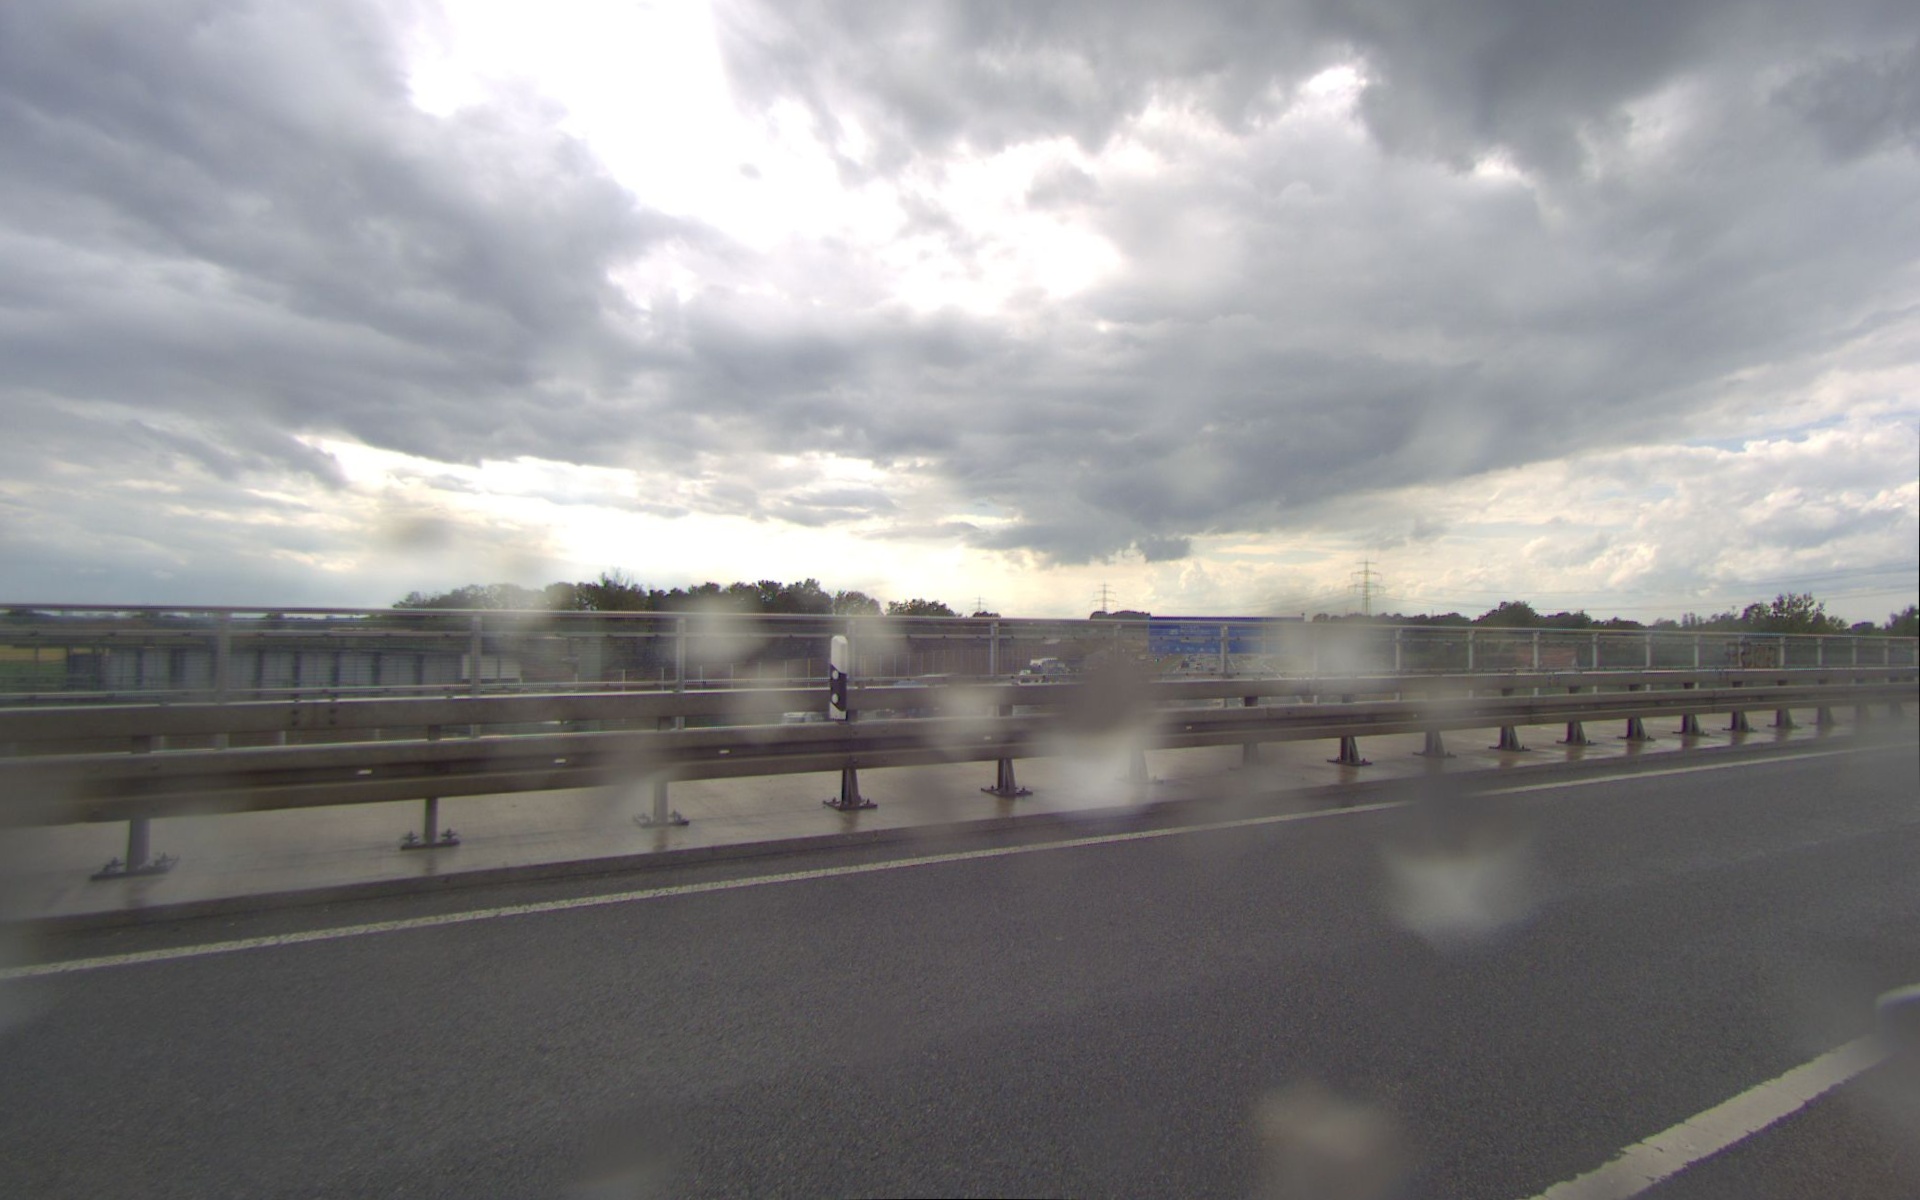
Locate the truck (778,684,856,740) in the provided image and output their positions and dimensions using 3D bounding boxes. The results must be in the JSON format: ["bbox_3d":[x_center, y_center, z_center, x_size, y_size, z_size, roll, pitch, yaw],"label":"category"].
[{"bbox_3d":[-12.725,9.917,90.655,2.388,3.812,11.173,1,0,16],"label":"truck"}]

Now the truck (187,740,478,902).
[{"bbox_3d":[-24.634,8.465,40.596,2.388,4.055,11.173,1,0,16],"label":"truck"}]

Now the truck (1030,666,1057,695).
[{"bbox_3d":[14.709,14.114,176.632,2.388,4.250,11.173,1,0,16],"label":"truck"}]

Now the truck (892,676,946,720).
[{"bbox_3d":[-4.393,10.666,110.590,2.388,3.812,11.173,1,0,16],"label":"truck"}]
